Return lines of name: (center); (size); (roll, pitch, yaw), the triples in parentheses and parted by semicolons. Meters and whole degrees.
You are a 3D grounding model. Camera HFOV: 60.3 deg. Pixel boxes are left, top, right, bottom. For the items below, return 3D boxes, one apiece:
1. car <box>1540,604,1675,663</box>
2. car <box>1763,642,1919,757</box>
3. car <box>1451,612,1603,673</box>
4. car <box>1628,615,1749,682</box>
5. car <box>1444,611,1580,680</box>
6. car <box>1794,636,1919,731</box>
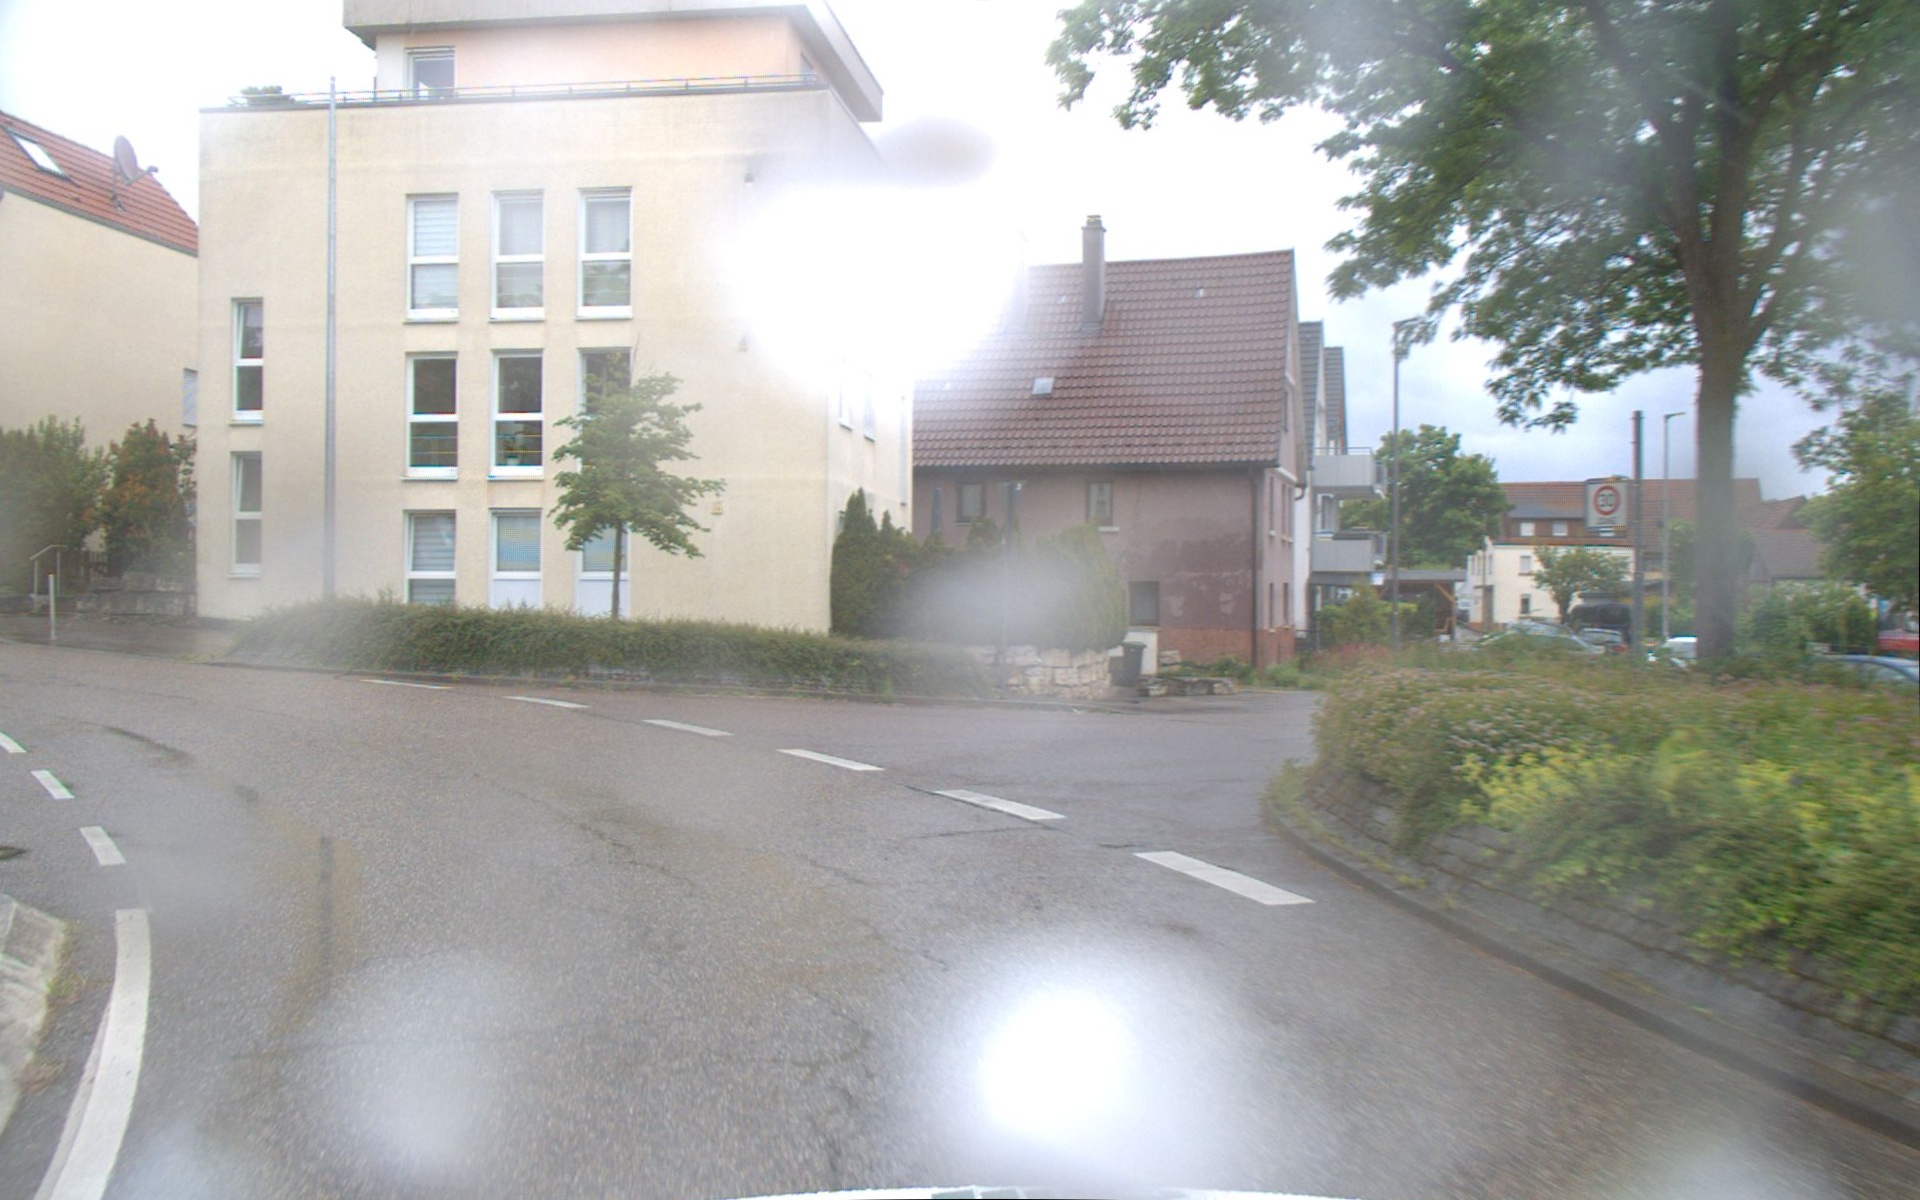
car: (21.011, 1.054, 53.846); (3.903, 1.726, 2.001); (2, 0, 18)
car: (12.955, 1.351, 22.164); (1.601, 1.414, 3.696); (2, 0, -30)
car: (15.853, 1.161, 46.418); (3.903, 1.482, 1.947); (3, 0, 17)
car: (18.593, 1.230, 42.127); (1.725, 1.563, 4.127); (1, 0, 40)
car: (17.193, 1.384, 51.538); (3.905, 1.914, 1.840); (3, 0, 20)
car: (15.524, 1.352, 26.189); (3.922, 1.414, 1.617); (2, 0, 37)
